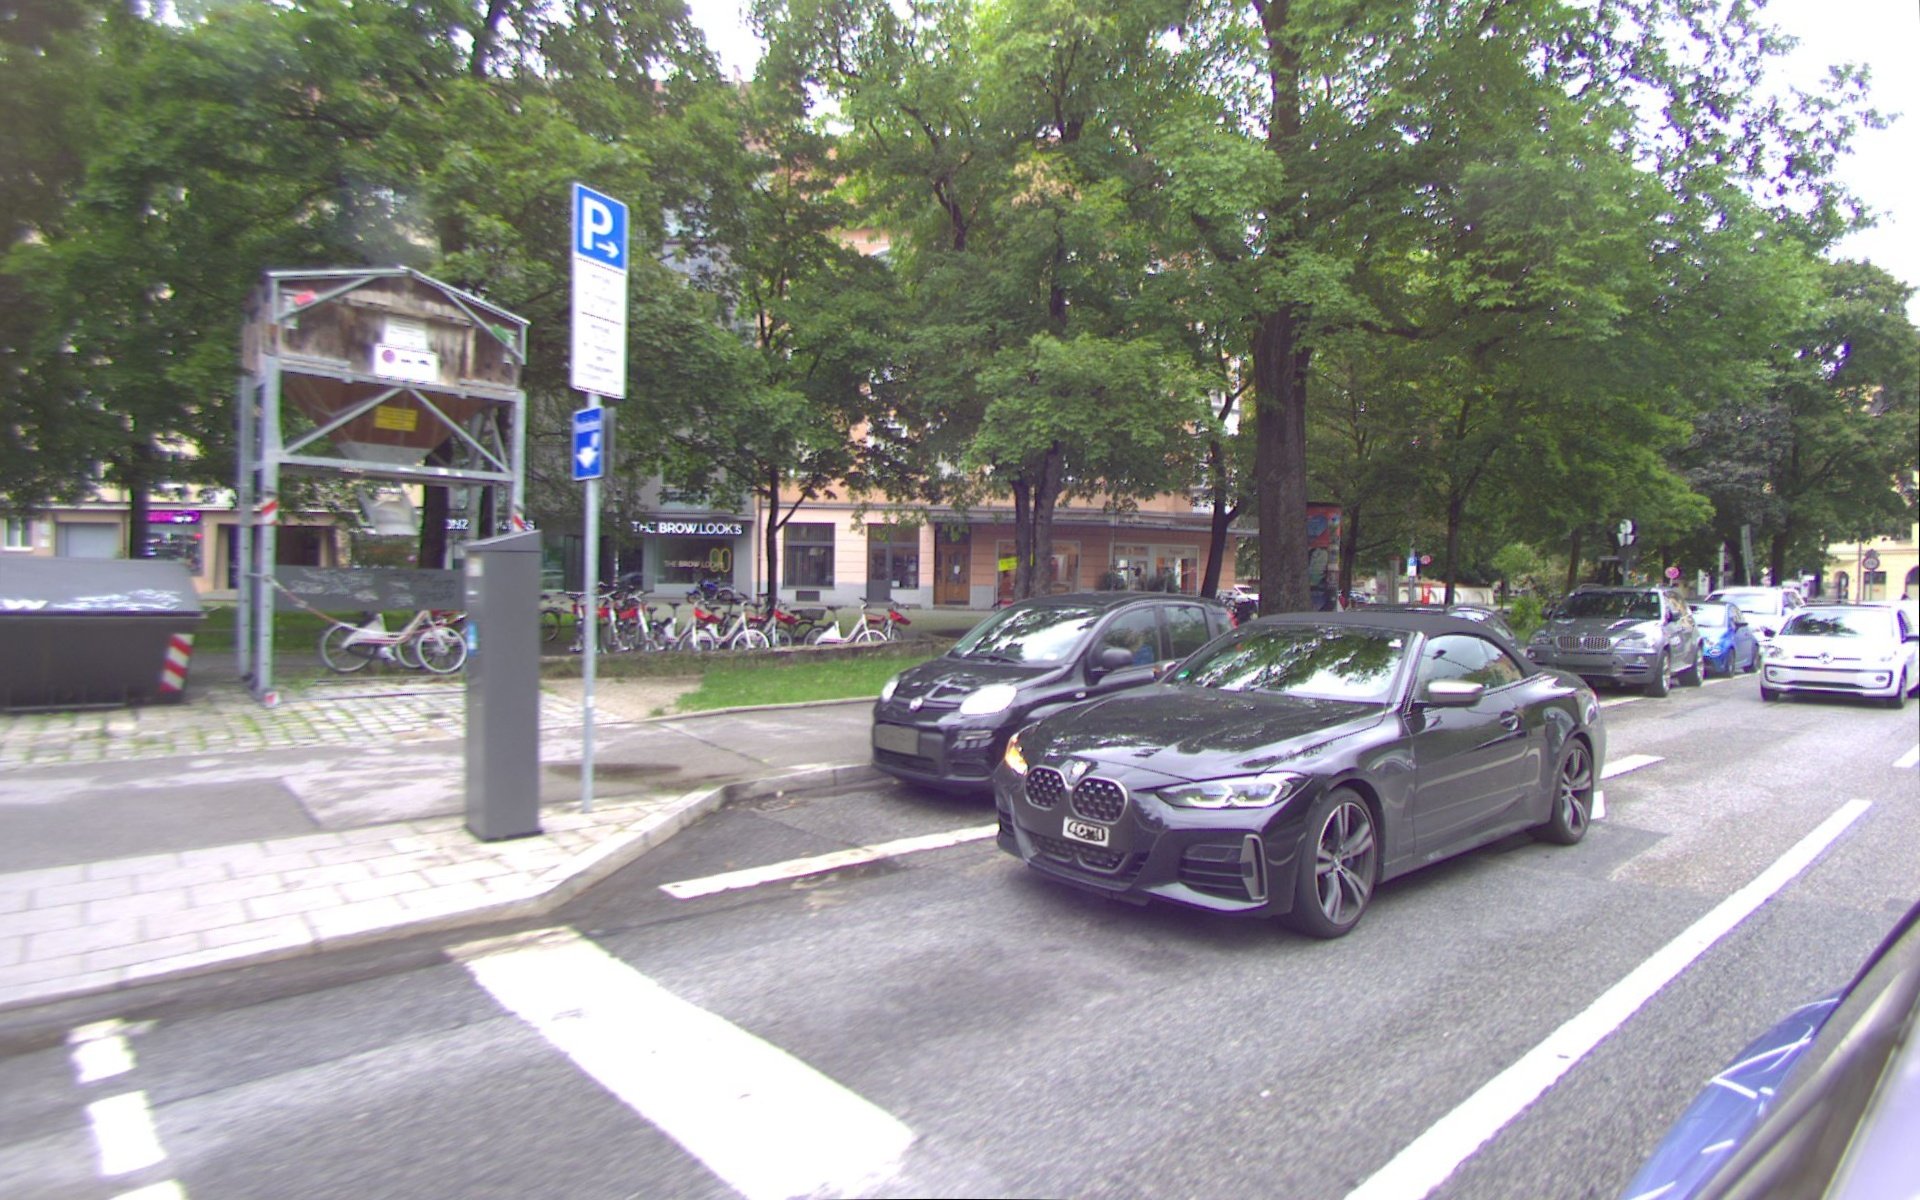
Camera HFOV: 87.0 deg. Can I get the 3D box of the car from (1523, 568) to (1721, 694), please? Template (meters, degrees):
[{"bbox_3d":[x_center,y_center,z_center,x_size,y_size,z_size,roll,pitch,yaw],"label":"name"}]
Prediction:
[{"bbox_3d":[11.299,0.423,17.134,1.932,1.842,4.481,2,2,45],"label":"car"}]

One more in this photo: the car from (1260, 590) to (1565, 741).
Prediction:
[{"bbox_3d":[5.674,0.646,12.392,4.564,1.479,1.770,0,2,-43],"label":"car"}]

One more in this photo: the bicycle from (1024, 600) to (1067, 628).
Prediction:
[{"bbox_3d":[2.330,0.371,27.593,1.154,0.732,0.320,-1,0,-19],"label":"bicycle"}]

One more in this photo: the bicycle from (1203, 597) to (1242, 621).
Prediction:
[{"bbox_3d":[8.280,0.286,31.955,1.157,0.732,0.319,-1,0,4],"label":"bicycle"}]

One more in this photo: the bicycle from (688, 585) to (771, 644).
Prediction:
[{"bbox_3d":[-3.709,0.217,16.252,1.397,0.905,0.311,1,1,24],"label":"bicycle"}]

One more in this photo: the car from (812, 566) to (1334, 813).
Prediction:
[{"bbox_3d":[1.147,0.544,8.598,4.474,1.568,1.834,0,2,-40],"label":"car"}]

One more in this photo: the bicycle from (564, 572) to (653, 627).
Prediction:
[{"bbox_3d":[-9.731,-0.025,28.018,2.439,1.373,0.626,3,1,20],"label":"bicycle"}]

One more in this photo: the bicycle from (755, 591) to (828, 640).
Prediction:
[{"bbox_3d":[-3.241,0.285,19.491,1.386,0.905,0.313,-1,0,-36],"label":"bicycle"}]

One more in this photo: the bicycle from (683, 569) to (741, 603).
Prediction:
[{"bbox_3d":[-9.888,-0.566,40.437,2.204,1.305,0.507,-1,0,-4],"label":"bicycle"}]

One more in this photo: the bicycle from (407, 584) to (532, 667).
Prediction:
[{"bbox_3d":[-6.611,0.318,13.581,2.228,1.029,0.622,0,0,39],"label":"bicycle"}]

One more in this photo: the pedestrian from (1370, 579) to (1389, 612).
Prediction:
[{"bbox_3d":[20.291,-0.206,48.993,0.632,1.571,0.603,-1,0,-35],"label":"pedestrian"}]

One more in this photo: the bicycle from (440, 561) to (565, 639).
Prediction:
[{"bbox_3d":[-8.711,-0.025,19.250,2.439,1.373,0.626,2,1,21],"label":"bicycle"}]

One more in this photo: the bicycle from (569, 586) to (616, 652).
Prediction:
[{"bbox_3d":[-5.300,0.254,14.554,0.307,0.905,1.413,-1,0,-34],"label":"bicycle"}]

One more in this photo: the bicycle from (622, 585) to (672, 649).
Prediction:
[{"bbox_3d":[-4.658,0.242,15.006,0.307,0.905,1.413,-1,0,-34],"label":"bicycle"}]

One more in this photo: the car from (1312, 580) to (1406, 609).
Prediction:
[{"bbox_3d":[21.260,-0.303,54.105,1.825,1.485,4.446,-1,1,-31],"label":"car"}]

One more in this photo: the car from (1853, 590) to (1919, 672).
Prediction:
[{"bbox_3d":[19.753,0.595,20.800,3.820,1.549,1.647,0,2,-42],"label":"car"}]

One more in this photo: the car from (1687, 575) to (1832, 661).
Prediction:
[{"bbox_3d":[19.461,0.375,24.550,4.936,1.879,1.847,0,2,-41],"label":"car"}]

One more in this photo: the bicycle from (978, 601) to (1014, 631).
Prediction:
[{"bbox_3d":[0.925,0.406,25.915,0.313,0.732,1.179,-1,0,-32],"label":"bicycle"}]

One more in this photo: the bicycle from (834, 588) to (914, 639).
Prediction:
[{"bbox_3d":[-1.541,0.244,18.156,1.391,0.905,0.312,0,0,13],"label":"bicycle"}]

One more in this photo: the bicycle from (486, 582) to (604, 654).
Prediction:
[{"bbox_3d":[-8.315,0.348,20.254,2.439,1.374,0.626,0,0,21],"label":"bicycle"}]

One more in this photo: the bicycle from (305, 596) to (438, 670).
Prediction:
[{"bbox_3d":[-7.353,0.412,12.684,1.383,0.905,0.314,1,0,-15],"label":"bicycle"}]

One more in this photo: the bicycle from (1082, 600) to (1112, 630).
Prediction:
[{"bbox_3d":[3.526,0.377,26.075,0.312,0.732,1.181,-1,1,-15],"label":"bicycle"}]

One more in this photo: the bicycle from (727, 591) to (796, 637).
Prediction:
[{"bbox_3d":[-4.067,0.278,20.814,1.386,0.905,0.313,-1,0,-36],"label":"bicycle"}]

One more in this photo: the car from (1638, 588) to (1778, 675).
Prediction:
[{"bbox_3d":[15.212,0.577,20.527,3.598,1.568,1.522,0,2,-41],"label":"car"}]

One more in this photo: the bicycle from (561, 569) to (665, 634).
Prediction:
[{"bbox_3d":[-8.177,0.011,23.812,2.439,1.373,0.626,3,1,20],"label":"bicycle"}]

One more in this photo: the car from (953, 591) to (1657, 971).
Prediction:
[{"bbox_3d":[2.336,0.681,6.024,4.712,1.406,1.728,0,2,-39],"label":"car"}]

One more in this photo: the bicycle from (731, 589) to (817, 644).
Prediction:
[{"bbox_3d":[-3.109,0.277,16.916,1.391,0.905,0.312,0,0,13],"label":"bicycle"}]

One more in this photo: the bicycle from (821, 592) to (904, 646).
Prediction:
[{"bbox_3d":[-1.691,0.327,17.510,1.391,0.905,0.312,0,0,13],"label":"bicycle"}]

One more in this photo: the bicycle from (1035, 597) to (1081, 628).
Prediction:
[{"bbox_3d":[2.441,0.310,25.140,1.155,0.732,0.319,-1,0,-30],"label":"bicycle"}]

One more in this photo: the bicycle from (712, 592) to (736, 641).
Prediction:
[{"bbox_3d":[-4.507,0.300,19.350,0.307,0.905,1.414,-1,1,-7],"label":"bicycle"}]

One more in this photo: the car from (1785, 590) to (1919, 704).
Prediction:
[{"bbox_3d":[14.035,0.620,15.685,1.769,1.543,4.145,0,1,42],"label":"car"}]

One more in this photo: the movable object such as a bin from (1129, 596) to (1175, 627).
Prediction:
[{"bbox_3d":[5.833,0.347,30.847,0.759,0.883,1.182,0,2,-33],"label":"movable object such as a bin"}]

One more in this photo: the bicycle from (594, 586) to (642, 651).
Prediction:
[{"bbox_3d":[-5.009,0.248,14.796,0.307,0.905,1.413,-1,0,-34],"label":"bicycle"}]

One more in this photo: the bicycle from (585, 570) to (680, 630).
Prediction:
[{"bbox_3d":[-8.452,-0.015,26.106,2.439,1.373,0.626,3,1,20],"label":"bicycle"}]

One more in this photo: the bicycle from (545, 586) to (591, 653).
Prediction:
[{"bbox_3d":[-5.583,0.259,14.382,0.307,0.905,1.413,-1,0,-34],"label":"bicycle"}]

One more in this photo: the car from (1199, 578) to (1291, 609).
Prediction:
[{"bbox_3d":[14.472,-0.325,51.563,1.825,1.485,4.446,-1,1,-31],"label":"car"}]

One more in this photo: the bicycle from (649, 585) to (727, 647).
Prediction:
[{"bbox_3d":[-4.135,0.232,15.336,1.403,0.905,0.309,0,0,36],"label":"bicycle"}]
